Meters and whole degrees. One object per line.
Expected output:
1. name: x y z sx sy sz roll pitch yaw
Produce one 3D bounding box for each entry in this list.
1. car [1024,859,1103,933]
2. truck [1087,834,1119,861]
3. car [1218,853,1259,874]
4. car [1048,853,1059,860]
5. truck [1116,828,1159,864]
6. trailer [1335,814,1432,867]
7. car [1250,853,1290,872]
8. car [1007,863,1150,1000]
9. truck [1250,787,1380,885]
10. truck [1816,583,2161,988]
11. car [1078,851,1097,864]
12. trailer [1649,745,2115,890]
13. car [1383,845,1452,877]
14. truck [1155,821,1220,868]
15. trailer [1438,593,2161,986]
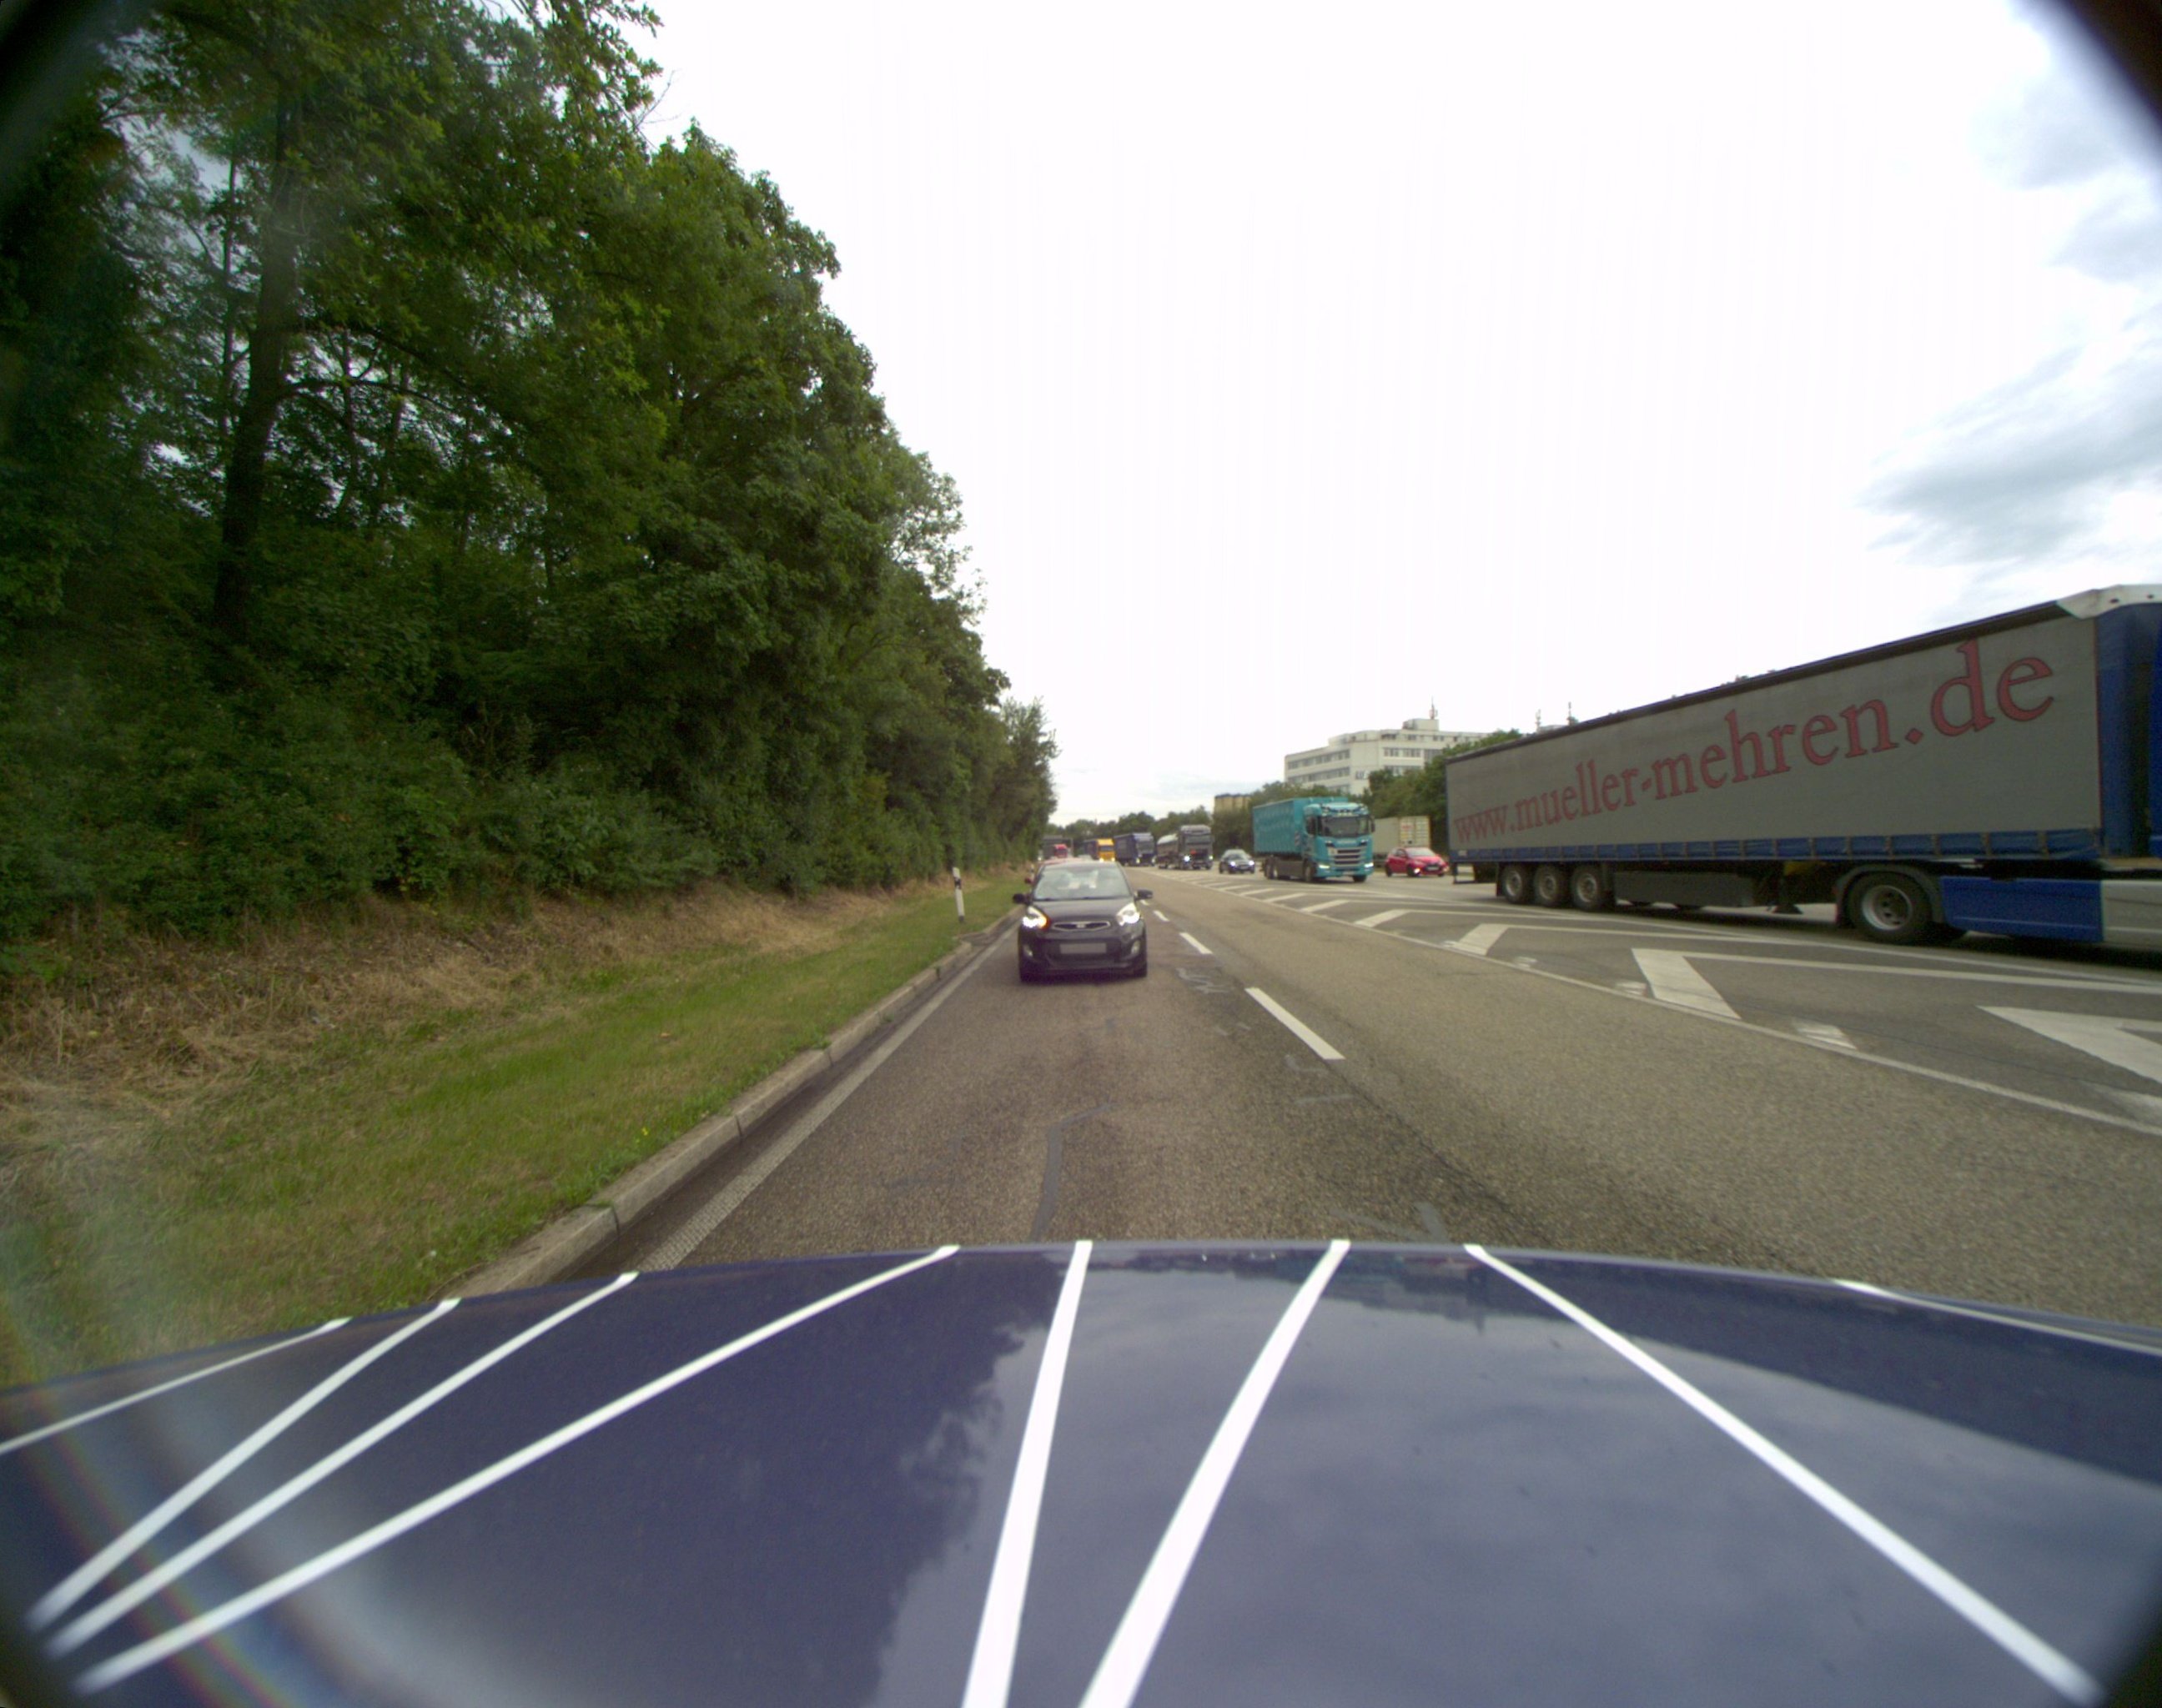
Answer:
1. car: -0.381 0.908 17.936 1.631 1.492 3.563 -1 0 0
2. truck: 3.496 -1.005 127.126 2.848 4.206 14.111 -2 0 -8
3. car: 10.659 0.604 51.642 1.757 1.314 3.999 -2 0 -2
4. car: -5.549 0.539 154.194 1.749 1.430 3.480 -1 0 -12
5. truck: 6.986 -0.947 96.536 2.814 4.206 13.998 -2 0 -6
6. trailer: 25.517 -1.038 65.125 2.404 4.005 13.073 -1 0 -3
7. car: 14.727 0.660 59.433 1.898 1.425 4.054 -1 0 -3
8. car: 0.001 0.909 10.693 1.584 1.485 4.000 -2 0 1
9. truck: 10.853 -0.754 36.609 2.700 3.977 10.122 -2 0 -2
10. truck: 11.861 -0.694 7.843 2.676 3.938 5.926 -2 0 -1
11. car: 0.867 0.409 101.166 1.907 1.653 4.749 -1 0 -6
12. trailer: 27.319 -1.020 27.911 2.600 3.959 13.782 -1 0 0
13. car: 16.066 0.329 36.444 1.746 1.410 3.447 -1 0 0
14. truck: 9.684 -0.775 71.032 3.329 3.902 13.140 -2 0 -4
15. trailer: 11.707 -0.692 14.654 2.680 3.951 13.917 -2 0 -1
